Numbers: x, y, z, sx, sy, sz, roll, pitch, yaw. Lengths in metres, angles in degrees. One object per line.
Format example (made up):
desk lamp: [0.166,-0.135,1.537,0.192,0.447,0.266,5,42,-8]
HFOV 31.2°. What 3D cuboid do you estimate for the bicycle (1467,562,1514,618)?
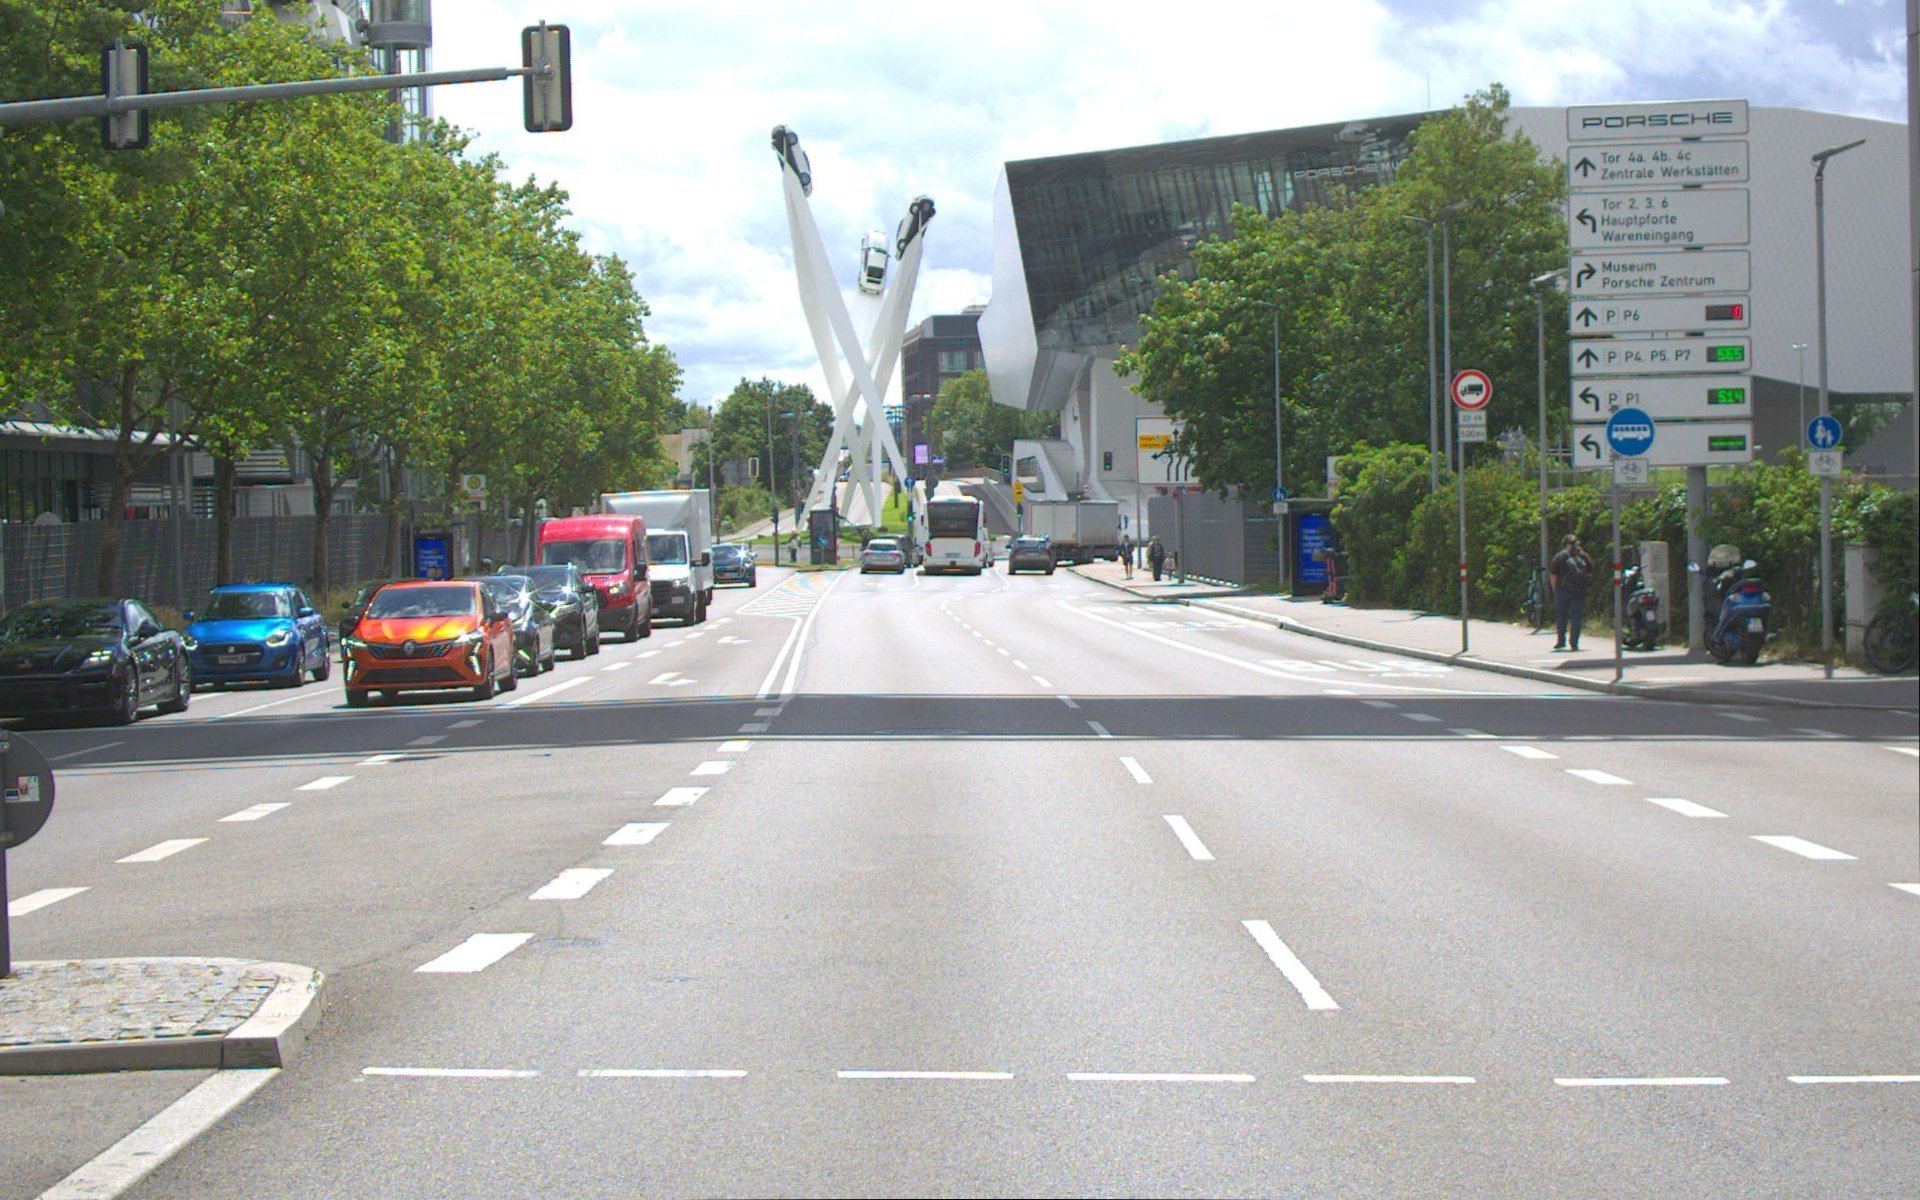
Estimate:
bicycle: [9.835,-0.182,63.772,0.418,1.019,1.913,1,0,-5]

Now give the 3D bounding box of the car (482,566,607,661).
car: [-6.951,0.200,57.801,1.557,1.443,3.772,-3,1,0]

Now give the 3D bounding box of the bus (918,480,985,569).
bus: [-0.352,-3.214,148.703,2.787,3.673,6.943,1,0,0]

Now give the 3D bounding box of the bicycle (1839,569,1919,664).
bicycle: [11.234,0.197,39.372,2.222,1.083,0.476,1,0,35]

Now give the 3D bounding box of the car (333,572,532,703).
car: [-6.339,0.419,41.683,1.769,1.415,3.701,-3,1,0]

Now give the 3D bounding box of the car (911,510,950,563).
car: [-1.467,-3.231,174.747,1.843,2.615,4.000,1,0,1]

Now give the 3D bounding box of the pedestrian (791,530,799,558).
pedestrian: [-8.522,-2.890,177.180,0.386,1.416,0.423,1,0,-4]

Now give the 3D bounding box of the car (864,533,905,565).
car: [-3.216,-2.182,147.117,1.557,1.269,3.701,-3,1,1]

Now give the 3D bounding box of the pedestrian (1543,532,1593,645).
pedestrian: [8.871,-0.168,50.160,0.533,1.635,0.658,1,0,-6]

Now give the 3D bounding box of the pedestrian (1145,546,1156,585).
pedestrian: [6.913,-1.237,124.733,0.386,1.416,0.423,1,0,0]

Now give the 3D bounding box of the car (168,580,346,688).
car: [-10.099,0.461,49.603,1.727,1.378,3.701,-3,1,0]

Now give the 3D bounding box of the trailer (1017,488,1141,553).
trailer: [6.033,-3.932,172.011,3.322,2.985,10.366,1,0,19]

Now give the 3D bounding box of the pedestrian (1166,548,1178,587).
pedestrian: [7.695,-1.172,125.018,0.386,1.416,0.423,1,0,0]

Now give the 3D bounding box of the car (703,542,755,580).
car: [-8.372,-1.421,124.845,1.557,1.269,3.701,-3,1,0]

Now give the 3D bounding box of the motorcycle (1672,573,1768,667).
motorcycle: [9.615,0.239,43.529,0.418,1.162,1.957,1,0,-11]

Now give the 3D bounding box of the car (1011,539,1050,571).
car: [2.984,-1.903,145.351,1.557,1.269,3.701,-3,1,1]

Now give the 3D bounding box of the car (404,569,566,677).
car: [-6.881,0.311,50.086,1.769,1.415,3.701,-3,1,0]

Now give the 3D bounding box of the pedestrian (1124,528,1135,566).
pedestrian: [6.350,-1.973,129.014,0.386,1.416,0.423,1,0,0]

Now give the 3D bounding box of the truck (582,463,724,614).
truck: [-7.044,-1.364,79.641,2.591,3.312,7.079,1,0,0]

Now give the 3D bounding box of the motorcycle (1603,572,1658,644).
motorcycle: [9.844,0.114,50.512,0.457,1.019,1.912,1,0,1]

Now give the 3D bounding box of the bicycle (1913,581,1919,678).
bicycle: [11.723,0.344,38.041,2.222,1.083,0.476,1,0,35]

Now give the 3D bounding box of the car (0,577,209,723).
car: [-10.148,0.544,39.498,1.917,1.483,4.772,-3,1,0]

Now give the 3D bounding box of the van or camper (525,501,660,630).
van or camper: [-7.247,-0.698,68.321,2.047,2.458,5.594,0,1,0]
